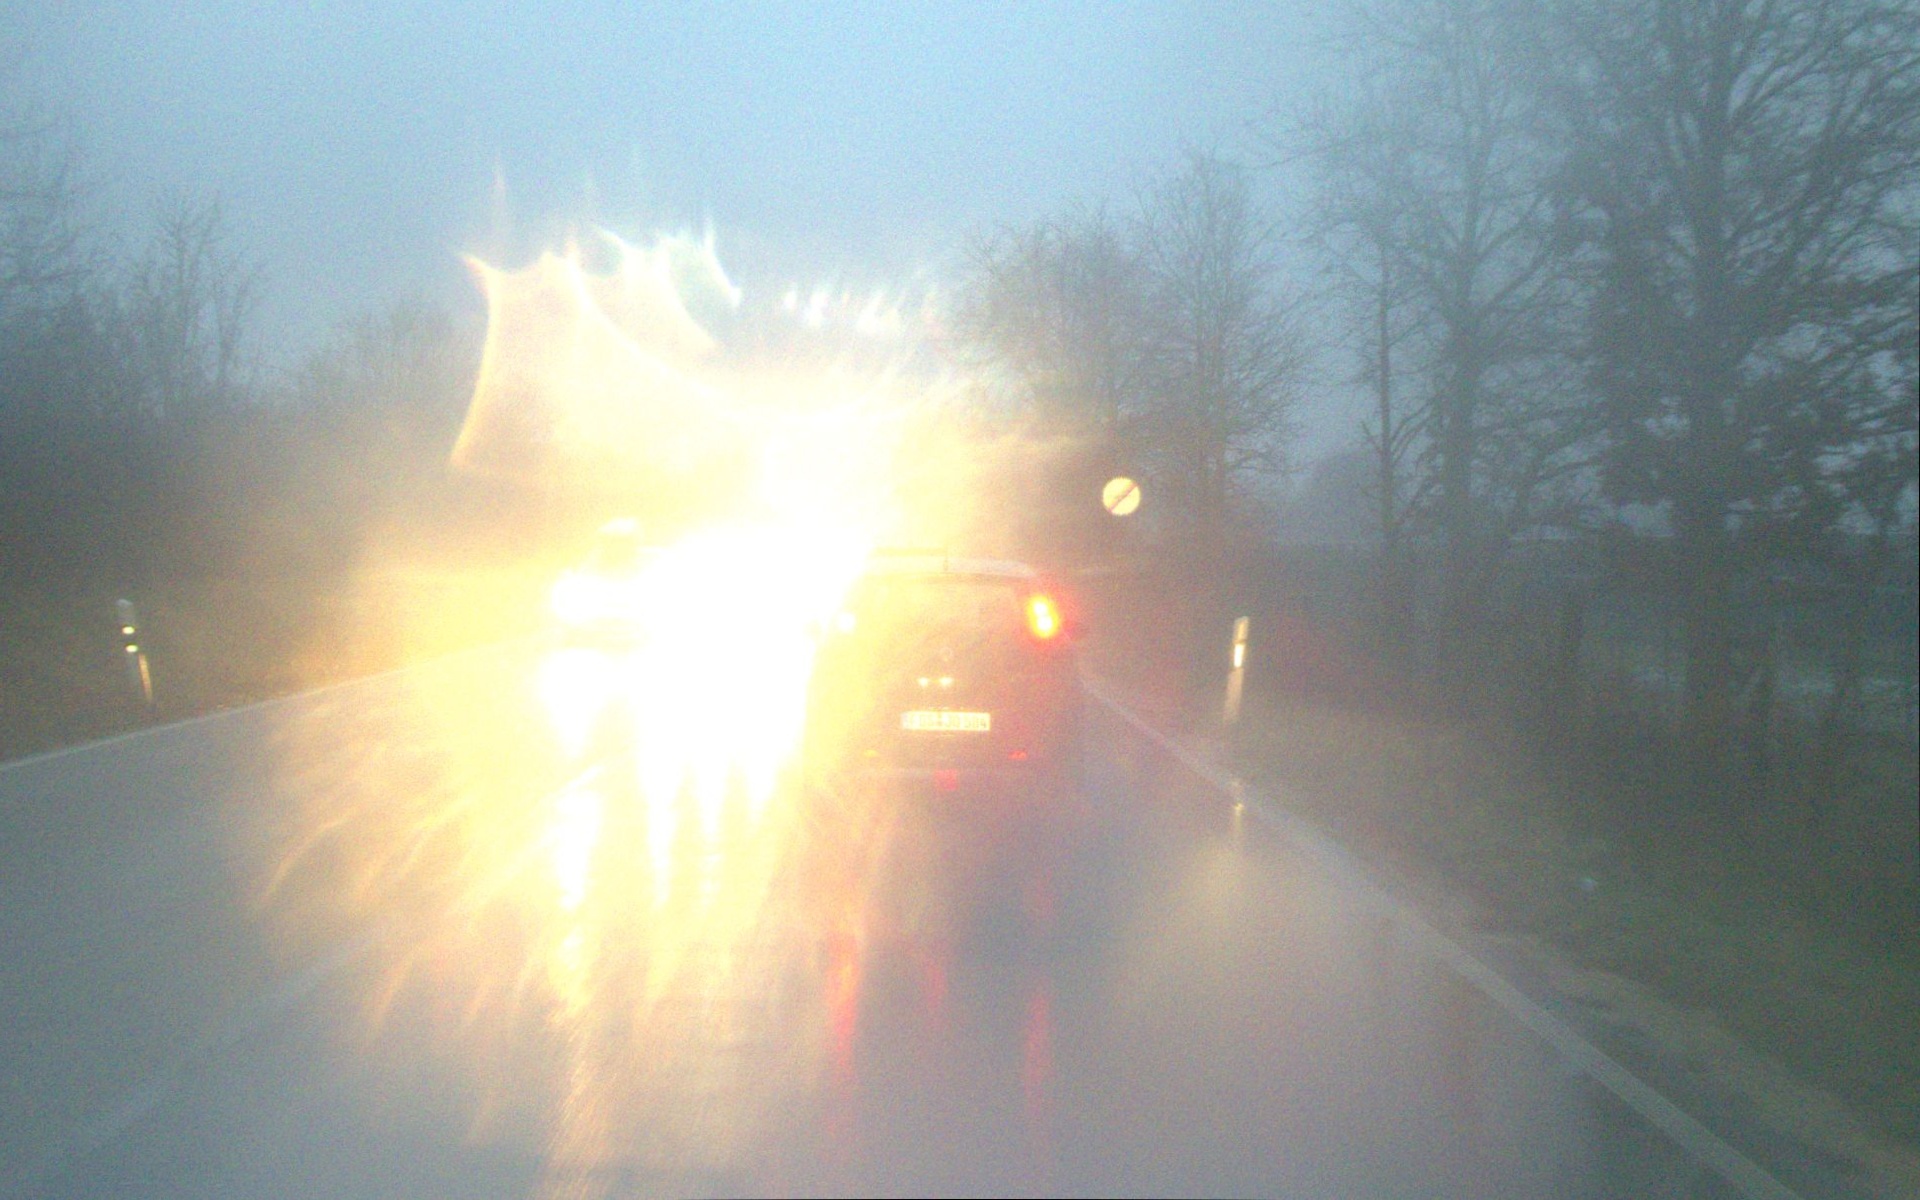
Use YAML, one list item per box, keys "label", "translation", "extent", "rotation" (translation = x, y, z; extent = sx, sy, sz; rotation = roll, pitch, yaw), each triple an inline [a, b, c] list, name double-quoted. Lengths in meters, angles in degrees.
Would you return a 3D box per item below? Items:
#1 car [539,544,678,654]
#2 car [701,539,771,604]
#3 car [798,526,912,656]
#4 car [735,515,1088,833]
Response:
- label: "car"
  translation: [-5.195, -0.045, 51.165]
  extent: [1.691, 1.525, 4.086]
  rotation: [1, 1, -1]
- label: "car"
  translation: [-5.774, -0.749, 88.869]
  extent: [1.752, 1.641, 4.050]
  rotation: [1, 1, -3]
- label: "car"
  translation: [-1.578, -0.158, 52.602]
  extent: [1.574, 1.868, 3.709]
  rotation: [1, 1, 0]
- label: "car"
  translation: [-0.277, 0.400, 21.768]
  extent: [1.993, 1.778, 4.000]
  rotation: [1, 1, 0]
